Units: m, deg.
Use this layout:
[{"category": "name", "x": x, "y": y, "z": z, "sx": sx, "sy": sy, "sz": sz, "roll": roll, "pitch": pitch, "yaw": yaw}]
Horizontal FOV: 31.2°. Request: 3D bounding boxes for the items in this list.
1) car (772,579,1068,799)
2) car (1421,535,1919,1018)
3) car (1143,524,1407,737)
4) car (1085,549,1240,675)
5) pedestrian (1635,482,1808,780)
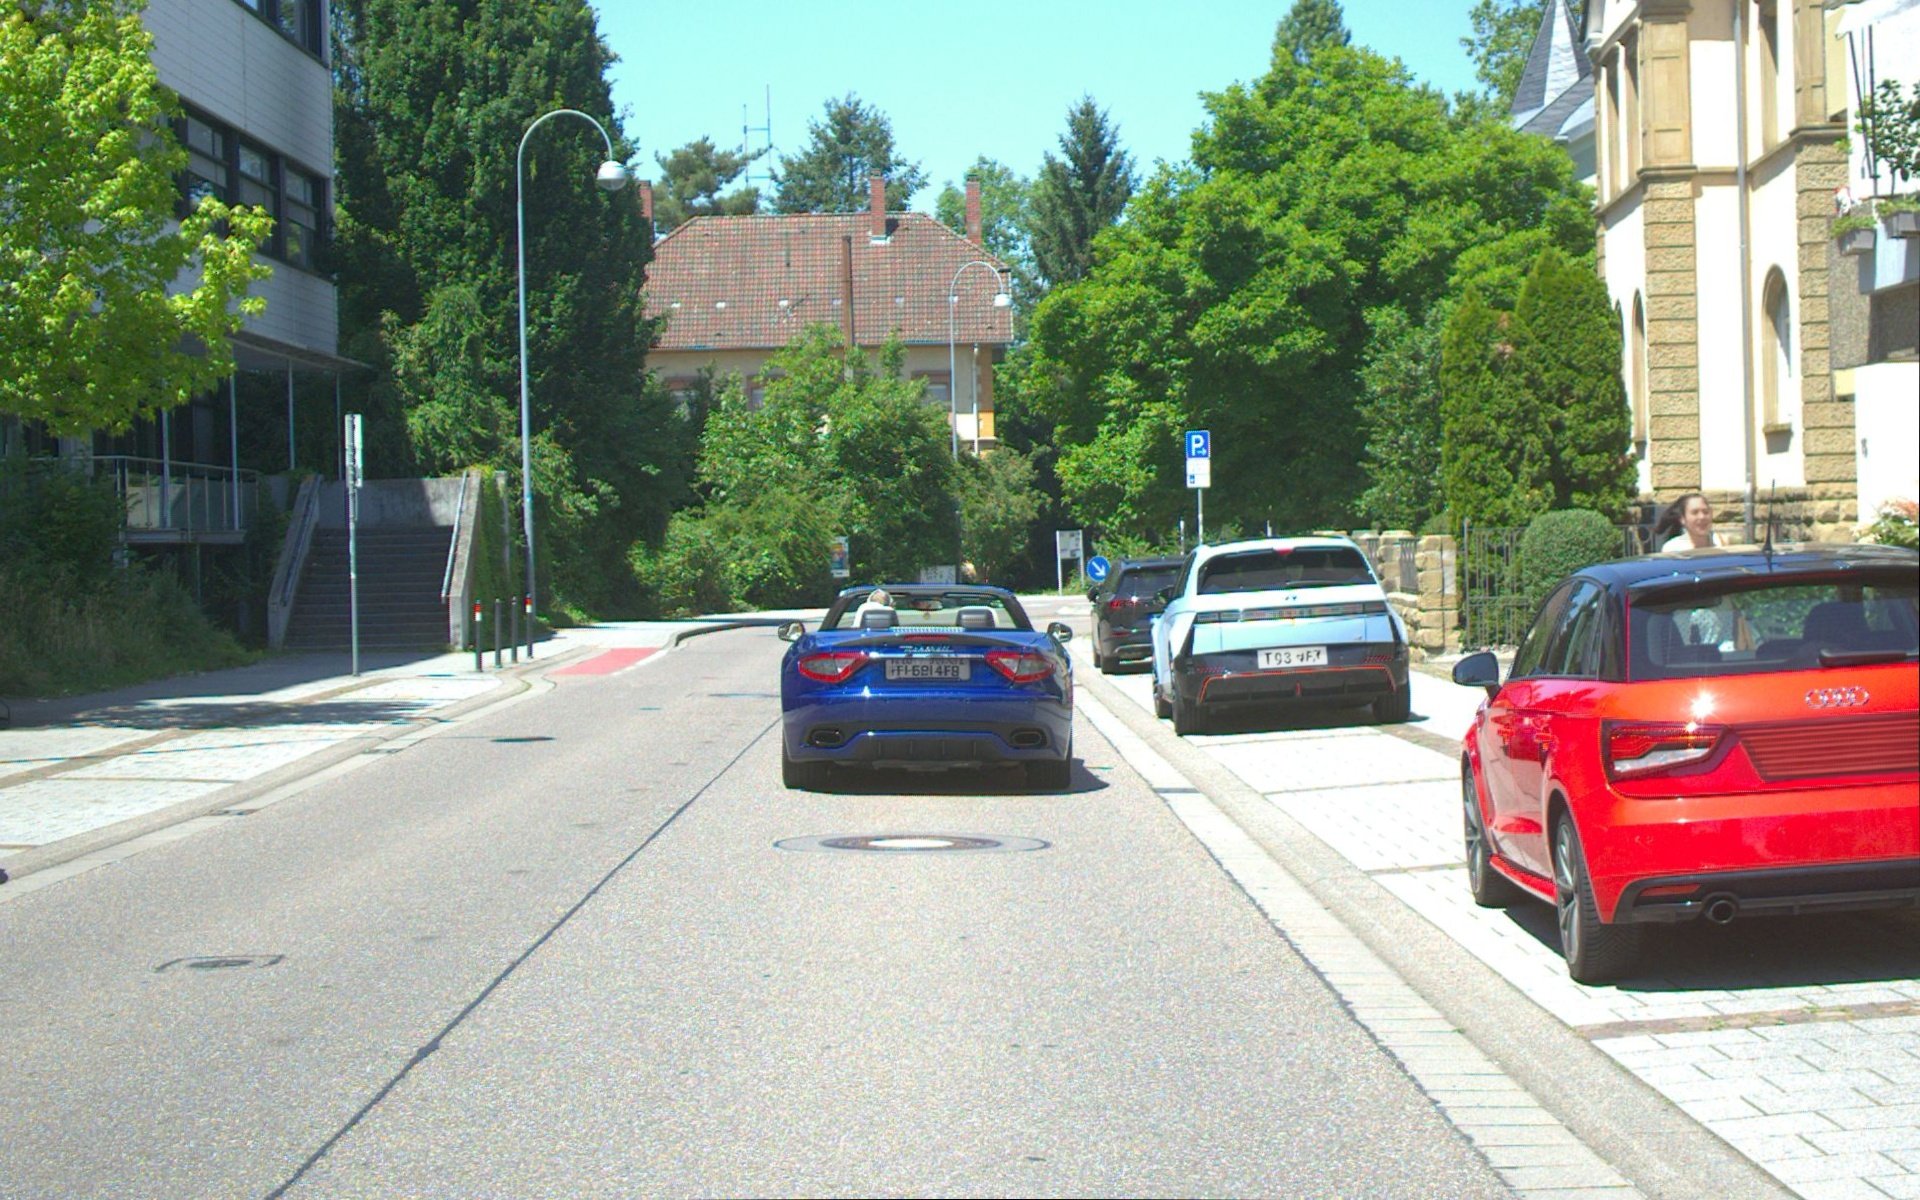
[{"category": "car", "x": -0.253, "y": 0.538, "z": 23.681, "sx": 1.826, "sy": 1.332, "sz": 4.700, "roll": 0, "pitch": 1, "yaw": 0}, {"category": "car", "x": 2.799, "y": 0.530, "z": 12.878, "sx": 1.603, "sy": 1.436, "sz": 3.853, "roll": -4, "pitch": 1, "yaw": 1}, {"category": "car", "x": 2.647, "y": 0.211, "z": 29.803, "sx": 1.843, "sy": 1.614, "sz": 4.427, "roll": -3, "pitch": 1, "yaw": 1}, {"category": "car", "x": 2.561, "y": 0.115, "z": 44.330, "sx": 1.631, "sy": 1.441, "sz": 4.398, "roll": -4, "pitch": 1, "yaw": 0}, {"category": "pedestrian", "x": 4.442, "y": 0.173, "z": 20.104, "sx": 0.740, "sy": 1.664, "sz": 0.706, "roll": -4, "pitch": 1, "yaw": -1}]
